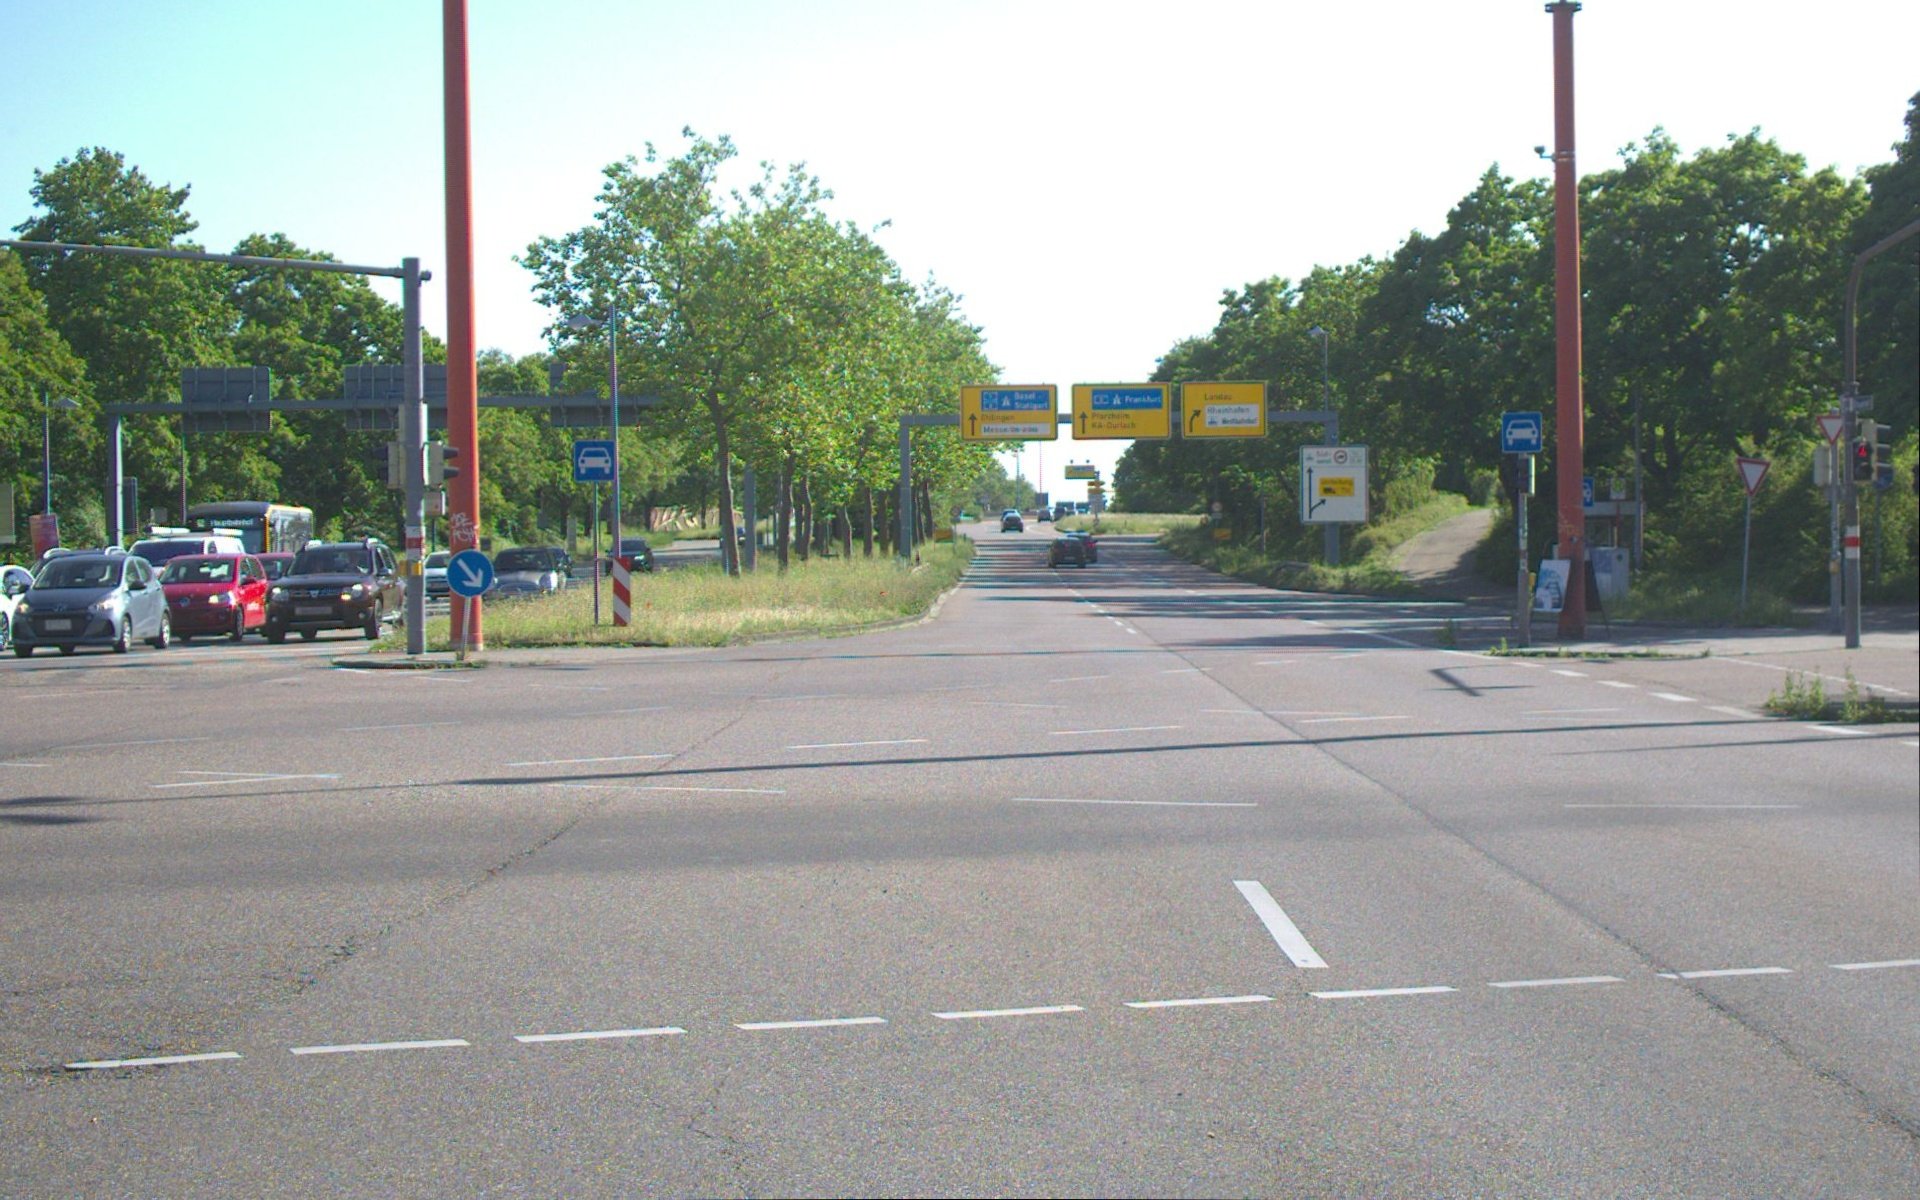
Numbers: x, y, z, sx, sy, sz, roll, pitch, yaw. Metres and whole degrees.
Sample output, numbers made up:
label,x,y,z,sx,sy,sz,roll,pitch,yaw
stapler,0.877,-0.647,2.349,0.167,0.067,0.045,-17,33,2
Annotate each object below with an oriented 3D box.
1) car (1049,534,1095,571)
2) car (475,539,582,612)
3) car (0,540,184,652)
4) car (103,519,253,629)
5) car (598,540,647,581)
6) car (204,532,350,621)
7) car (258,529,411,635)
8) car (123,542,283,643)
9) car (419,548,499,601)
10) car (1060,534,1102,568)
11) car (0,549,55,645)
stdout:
label,x,y,z,sx,sy,sz,roll,pitch,yaw
car,5.394,-2.279,165.659,1.993,1.727,4.000,1,1,-1
car,-9.666,-0.577,77.255,1.885,1.538,4.000,-2,1,-1
car,-13.212,-0.097,52.300,1.874,1.545,4.028,-2,1,-1
car,-16.060,-0.564,70.839,1.961,2.147,5.082,-1,1,-1
car,-15.300,-1.797,155.936,1.837,1.831,3.961,-1,1,-1
car,-12.799,-0.451,64.635,1.901,1.624,4.000,0,1,1
car,-10.207,-0.325,56.375,1.793,1.620,4.144,-2,1,-1
car,-12.860,-0.156,58.638,1.875,1.547,4.000,-4,1,-2
car,-15.535,-0.799,106.752,1.885,1.538,4.000,-2,1,-1
car,6.342,-2.549,180.347,1.993,1.727,4.000,1,1,-1
car,-16.526,-0.048,57.292,1.901,1.549,4.000,-2,1,-2
